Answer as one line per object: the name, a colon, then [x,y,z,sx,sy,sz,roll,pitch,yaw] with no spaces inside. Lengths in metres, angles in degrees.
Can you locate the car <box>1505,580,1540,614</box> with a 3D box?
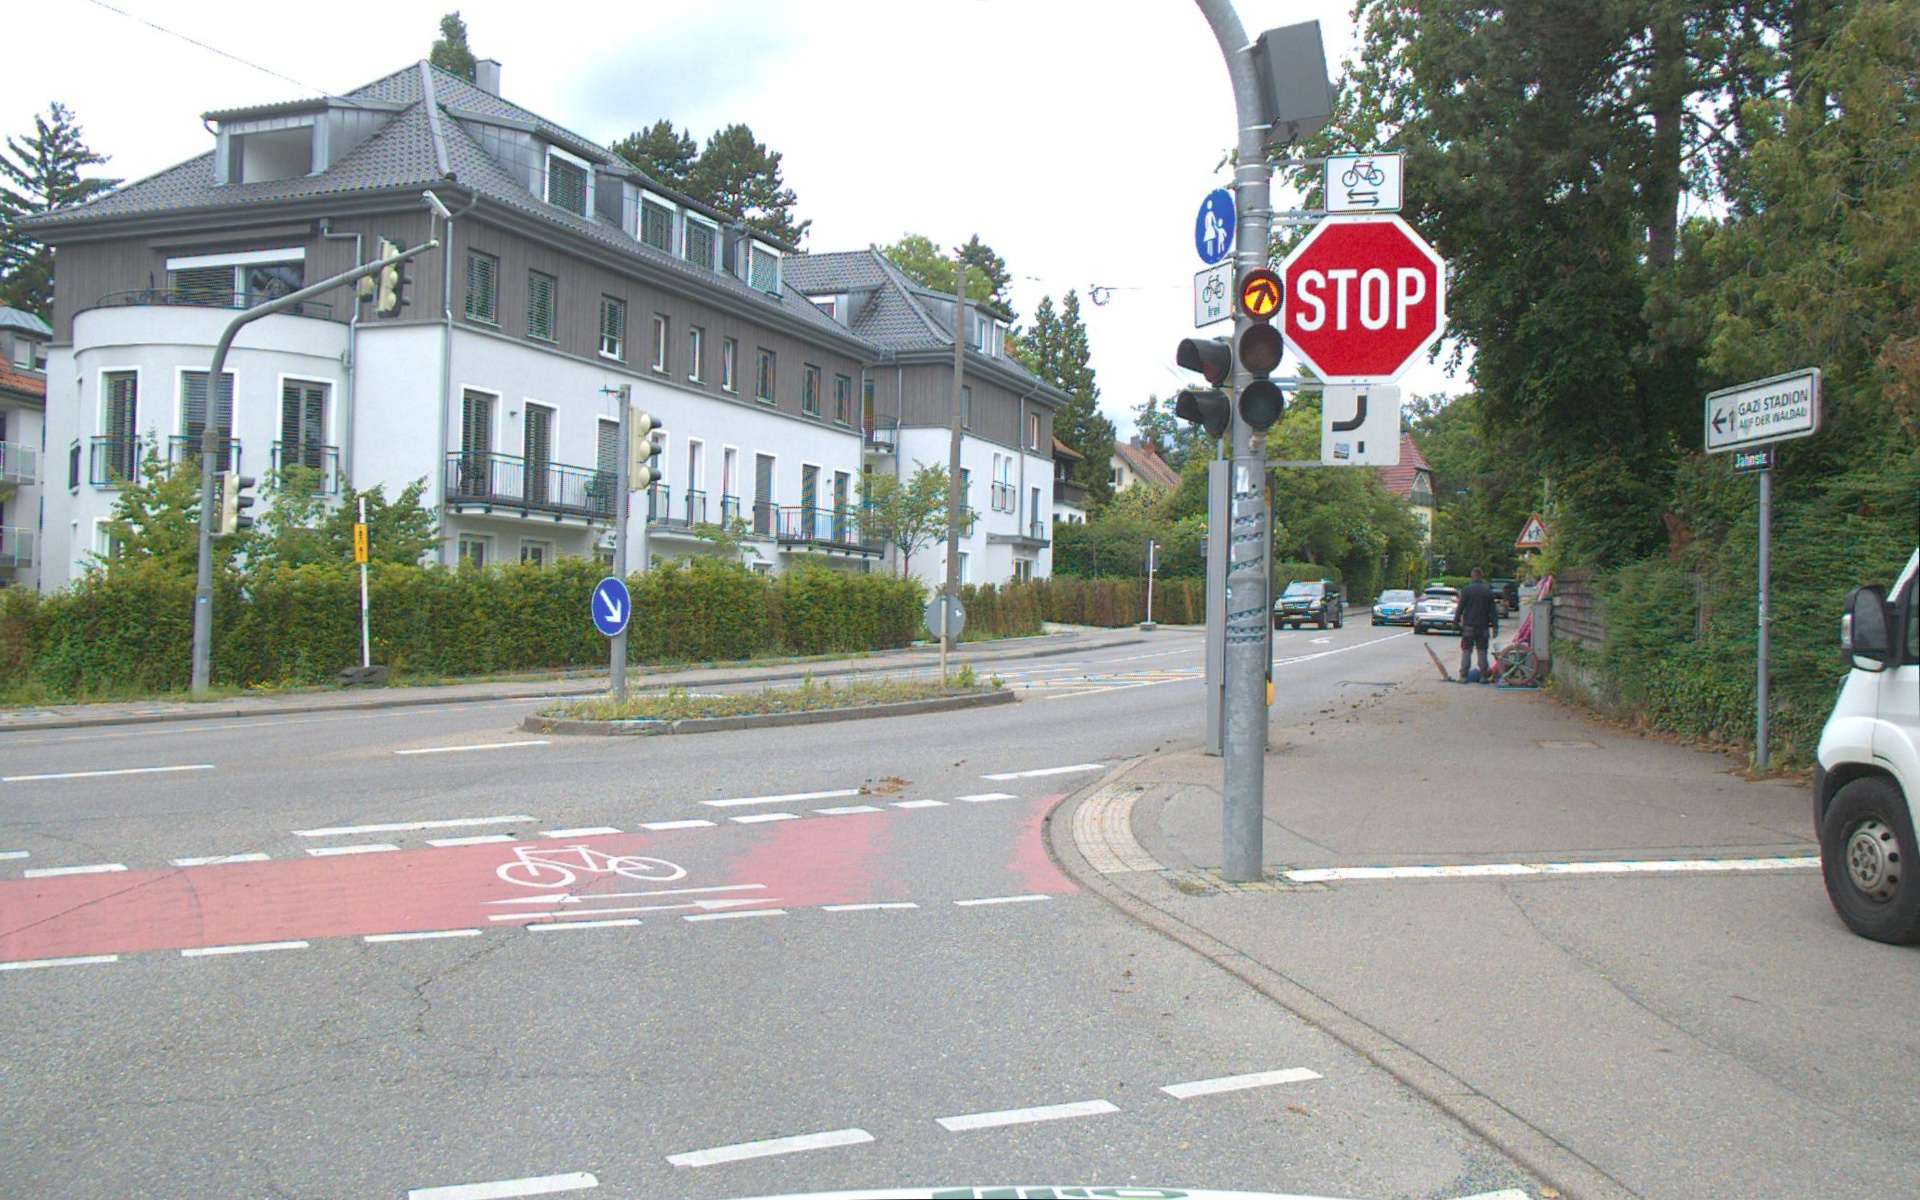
car: [34.765,-0.193,102.129,1.879,1.927,4.909,2,1,20]

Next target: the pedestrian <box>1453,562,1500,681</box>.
pedestrian: [8.566,0.350,27.441,0.584,1.940,0.558,1,0,0]

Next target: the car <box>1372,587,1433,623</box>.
car: [18.572,0.195,69.303,1.899,1.428,4.742,1,1,22]

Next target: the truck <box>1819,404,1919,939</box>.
truck: [5.142,0.317,5.021,2.162,2.283,5.724,1,0,1]

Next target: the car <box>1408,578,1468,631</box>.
car: [17.042,0.144,58.869,1.770,1.784,4.488,-1,0,19]

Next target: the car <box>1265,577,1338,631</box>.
car: [12.916,0.167,62.249,1.873,1.913,5.142,-1,-1,21]

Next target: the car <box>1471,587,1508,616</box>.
car: [27.712,0.074,86.518,1.659,1.455,3.749,-1,0,20]

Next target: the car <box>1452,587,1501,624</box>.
car: [22.694,0.210,72.550,1.763,1.553,4.743,-1,0,21]
